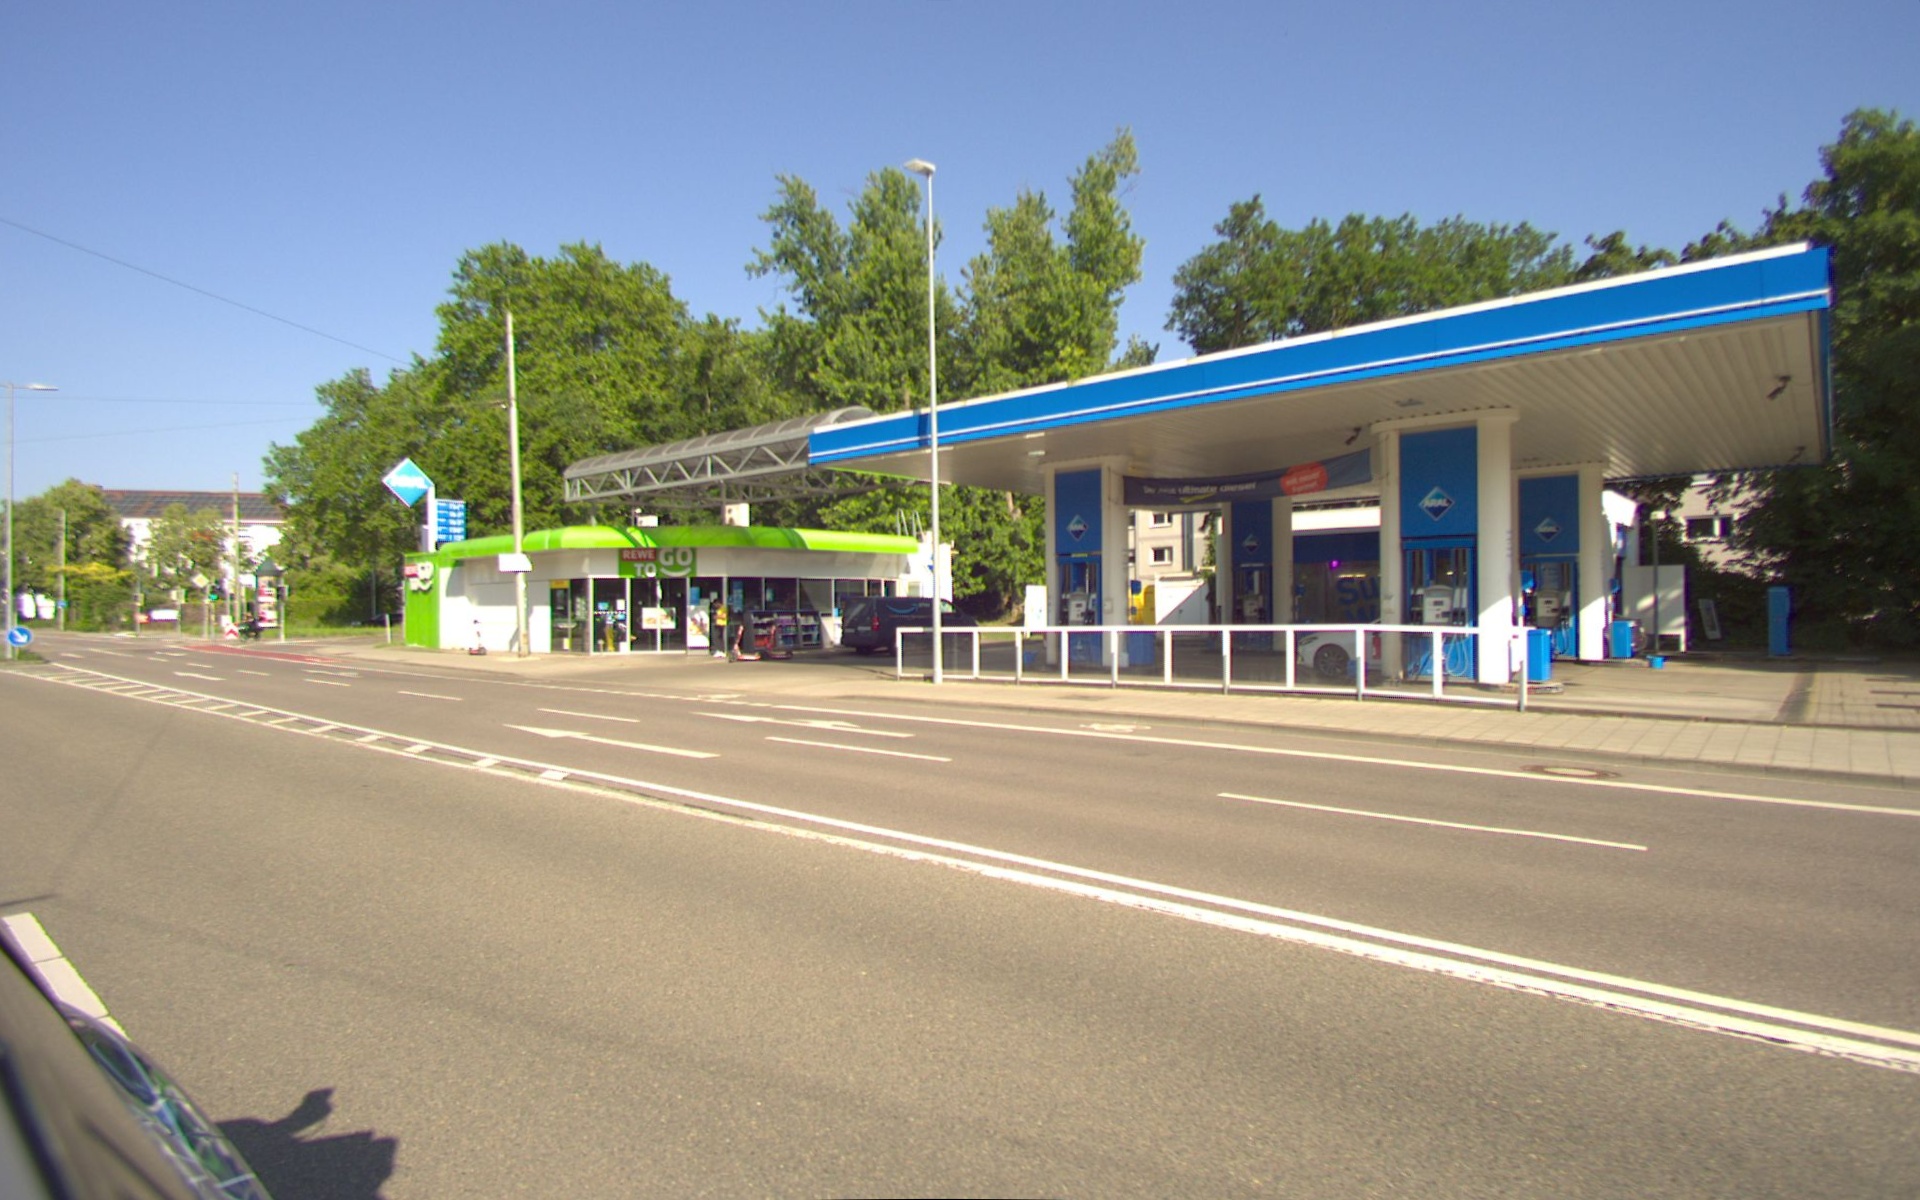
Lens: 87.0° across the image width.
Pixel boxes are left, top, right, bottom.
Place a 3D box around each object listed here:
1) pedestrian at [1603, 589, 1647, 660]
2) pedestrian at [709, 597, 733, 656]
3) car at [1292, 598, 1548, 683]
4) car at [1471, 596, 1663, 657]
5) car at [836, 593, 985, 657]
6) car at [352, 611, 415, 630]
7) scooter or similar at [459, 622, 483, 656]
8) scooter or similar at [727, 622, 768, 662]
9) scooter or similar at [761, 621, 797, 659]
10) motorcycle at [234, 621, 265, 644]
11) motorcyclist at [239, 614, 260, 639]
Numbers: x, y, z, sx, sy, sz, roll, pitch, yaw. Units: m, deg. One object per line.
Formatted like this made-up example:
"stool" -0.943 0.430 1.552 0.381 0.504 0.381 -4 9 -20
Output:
"pedestrian" 16.253 0.599 24.745 0.795 1.703 0.807 -1 -1 40
"pedestrian" -7.245 0.797 30.689 0.651 1.744 0.606 0 -1 -17
"car" 8.932 0.732 19.854 4.273 1.502 1.718 -1 -1 41
"car" 15.676 0.655 26.246 4.000 1.456 1.717 -1 -1 43
"car" -1.557 0.787 33.523 1.858 1.955 5.013 -1 -1 44
"car" -46.683 1.636 81.995 1.690 1.454 4.140 -1 -1 43
"scooter or similar" -16.771 1.327 34.691 1.143 1.169 0.345 -1 -1 42
"scooter or similar" -6.210 1.209 29.560 1.127 1.125 0.351 0 -1 -40
"scooter or similar" -5.426 1.196 30.343 1.016 1.118 0.351 0 -1 -43
"motorcycle" -39.951 1.824 56.939 0.722 1.237 2.270 0 -1 -16
"motorcyclist" -39.950 1.484 56.928 0.722 1.399 0.867 0 -1 -16
